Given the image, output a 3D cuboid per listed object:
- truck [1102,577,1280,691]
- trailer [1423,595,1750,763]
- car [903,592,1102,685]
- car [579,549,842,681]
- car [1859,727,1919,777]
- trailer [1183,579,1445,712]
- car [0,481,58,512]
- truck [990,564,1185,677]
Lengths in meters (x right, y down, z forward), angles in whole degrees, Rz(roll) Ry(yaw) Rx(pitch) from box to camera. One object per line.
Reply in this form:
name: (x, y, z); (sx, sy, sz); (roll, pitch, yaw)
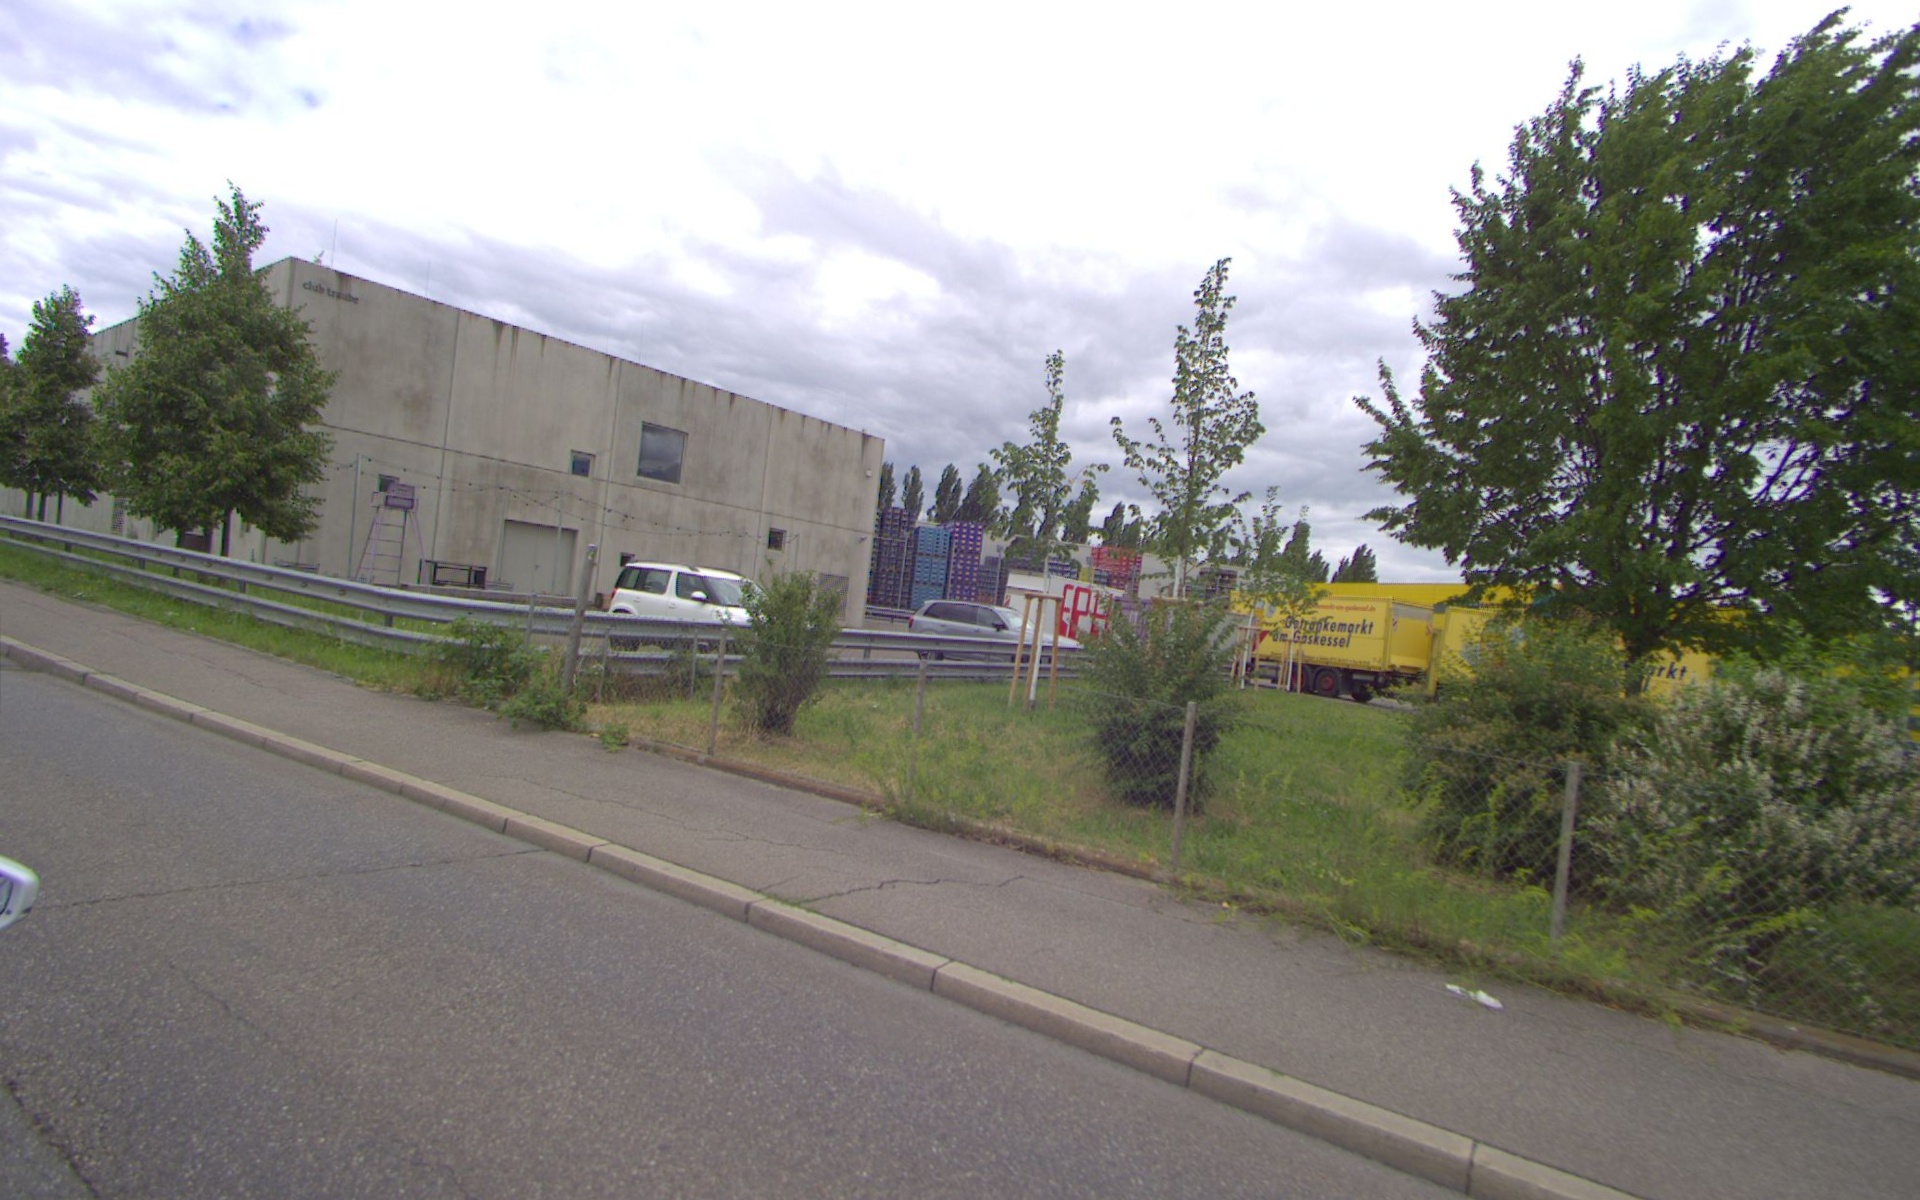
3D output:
truck: (8.535, 1.352, 36.343); (2.588, 3.070, 7.742); (6, -4, 42)
trailer: (20.643, 2.479, 33.836); (8.550, 4.123, 2.943); (8, 1, 31)
car: (1.014, 0.954, 25.507); (4.616, 1.741, 1.911); (7, 0, 37)
car: (-4.352, 0.226, 17.279); (4.358, 1.592, 1.752); (7, -2, 34)
car: (41.006, 6.627, 42.419); (4.298, 1.713, 1.998); (8, 1, -3)
trailer: (13.629, 1.568, 40.037); (2.888, 4.012, 9.943); (7, 0, -30)
car: (-60.852, -6.717, 64.119); (2.121, 1.567, 4.520); (5, -1, 20)
truck: (4.876, 0.862, 37.214); (7.722, 3.070, 2.325); (11, -4, -41)
